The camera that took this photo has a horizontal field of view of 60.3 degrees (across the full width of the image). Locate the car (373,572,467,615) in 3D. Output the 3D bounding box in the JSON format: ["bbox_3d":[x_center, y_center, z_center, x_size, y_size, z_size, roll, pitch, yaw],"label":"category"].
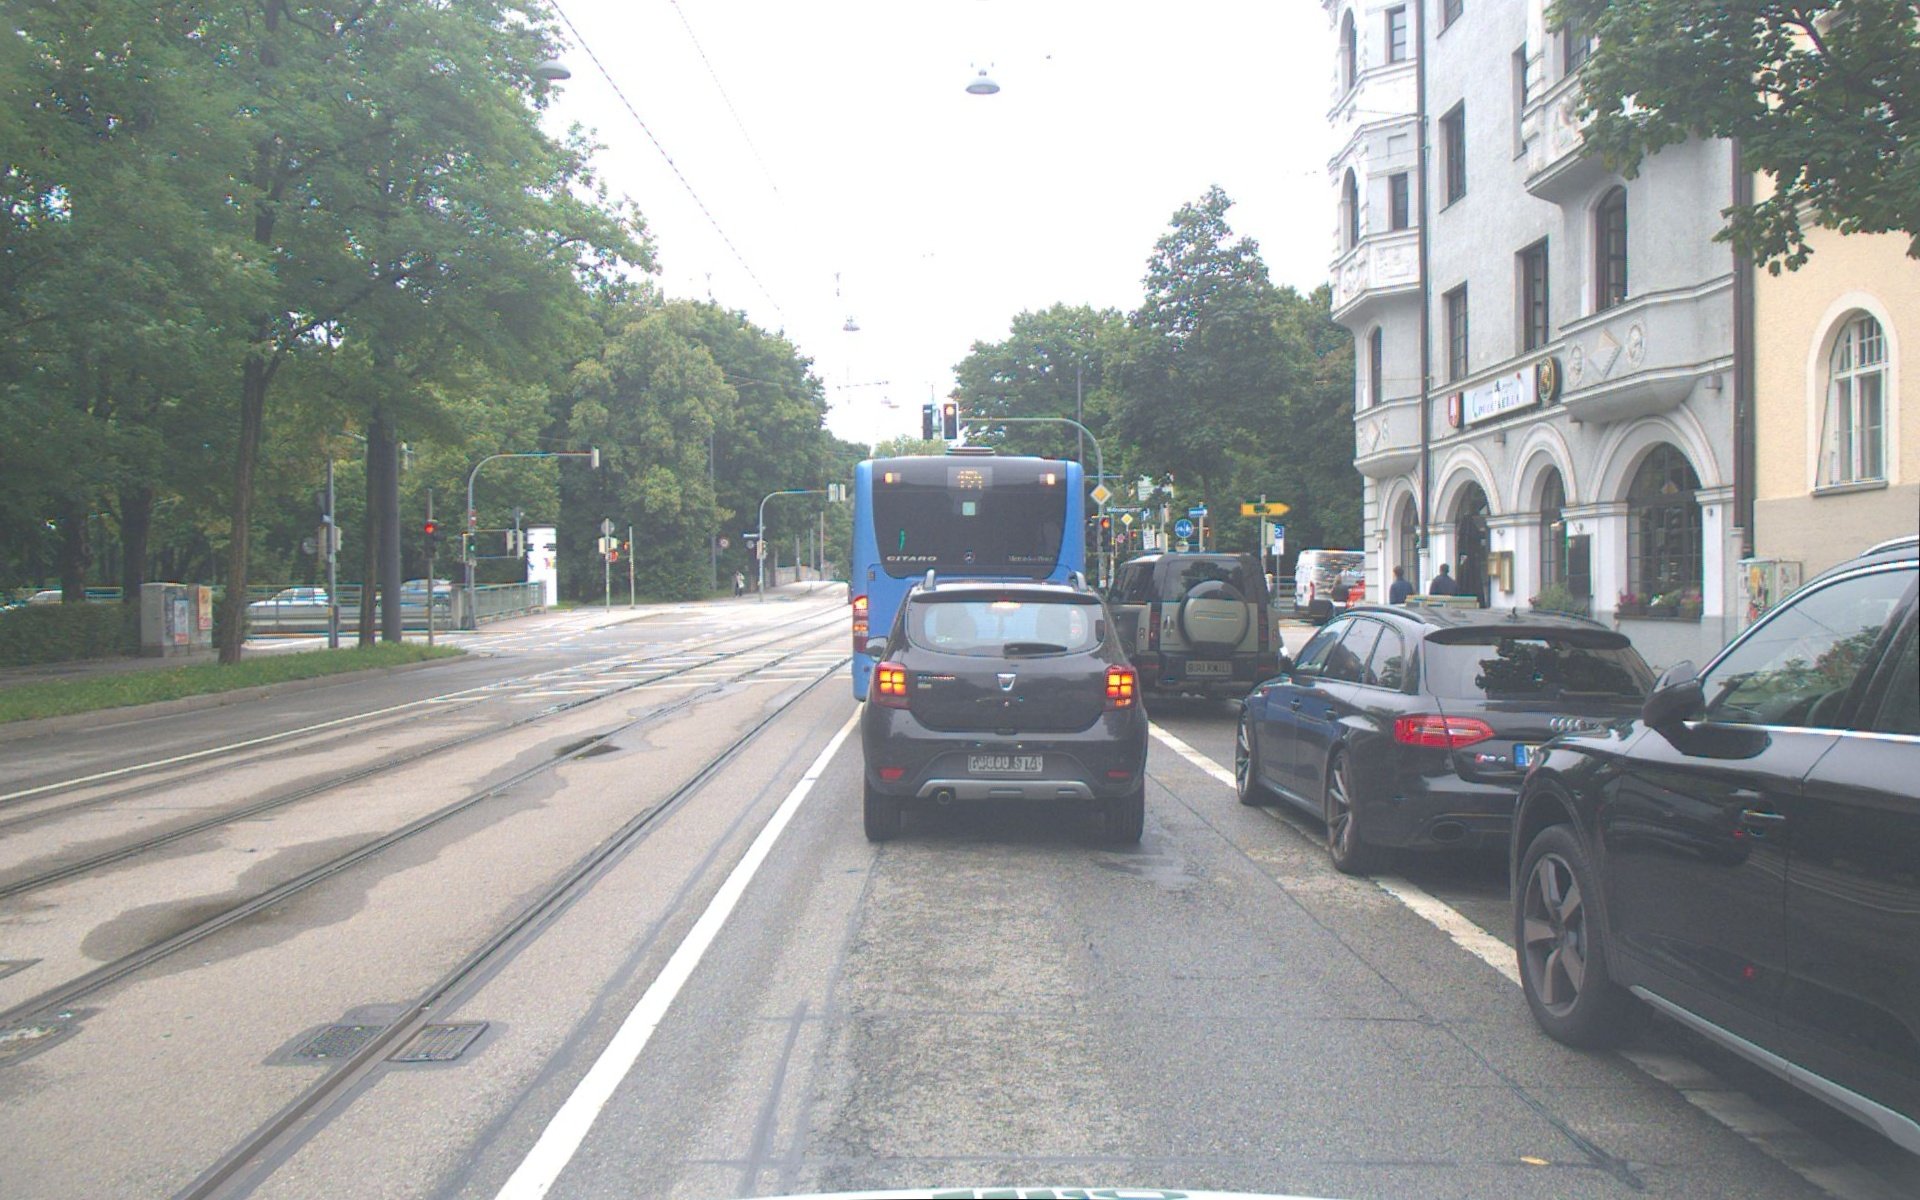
[{"bbox_3d":[-25.211,-0.324,77.323,3.946,1.920,1.488,1,0,-7],"label":"car"}]

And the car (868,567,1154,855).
[{"bbox_3d":[0.256,0.615,10.984,1.568,1.584,3.524,1,0,-1],"label":"car"}]

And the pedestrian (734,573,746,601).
[{"bbox_3d":[-12.467,-0.729,93.633,0.520,1.527,0.588,1,0,4],"label":"pedestrian"}]

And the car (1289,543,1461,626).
[{"bbox_3d":[13.993,-0.511,55.915,5.190,2.658,2.229,1,0,-4],"label":"car"}]

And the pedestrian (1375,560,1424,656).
[{"bbox_3d":[8.554,0.153,32.188,0.690,1.848,0.870,1,0,-1],"label":"pedestrian"}]

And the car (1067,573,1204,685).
[{"bbox_3d":[2.736,0.422,26.617,1.679,1.619,4.327,1,0,-1],"label":"car"}]

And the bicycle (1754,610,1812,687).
[{"bbox_3d":[10.515,0.609,21.144,0.285,0.947,0.886,1,0,0],"label":"bicycle"}]

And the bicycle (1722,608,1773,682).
[{"bbox_3d":[10.504,0.592,22.081,0.254,0.947,0.886,1,0,1],"label":"bicycle"}]

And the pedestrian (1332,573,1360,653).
[{"bbox_3d":[10.133,0.336,43.428,0.658,2.049,0.717,1,0,13],"label":"pedestrian"}]

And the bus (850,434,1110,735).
[{"bbox_3d":[0.075,-0.166,20.476,2.625,3.050,6.958,1,0,-2],"label":"bus"}]

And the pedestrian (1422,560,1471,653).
[{"bbox_3d":[9.442,0.122,32.118,0.690,1.762,0.843,1,0,-1],"label":"pedestrian"}]

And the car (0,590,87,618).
[{"bbox_3d":[-42.213,0.172,75.799,3.656,1.206,1.249,1,0,-6],"label":"car"}]

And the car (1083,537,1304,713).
[{"bbox_3d":[2.787,0.272,20.861,1.875,1.939,4.805,1,0,-3],"label":"car"}]

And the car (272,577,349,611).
[{"bbox_3d":[-30.079,-0.271,76.655,3.049,1.477,1.249,1,0,-6],"label":"car"}]

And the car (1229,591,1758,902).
[{"bbox_3d":[2.916,0.691,10.171,1.681,1.451,4.601,1,0,-1],"label":"car"}]

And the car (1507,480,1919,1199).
[{"bbox_3d":[2.968,0.587,4.090,1.738,1.687,4.487,1,0,0],"label":"car"}]

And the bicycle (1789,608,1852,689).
[{"bbox_3d":[10.492,0.580,20.183,0.299,0.947,0.886,1,0,1],"label":"bicycle"}]

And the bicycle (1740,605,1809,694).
[{"bbox_3d":[10.104,0.601,20.549,0.237,1.057,1.223,1,0,0],"label":"bicycle"}]
